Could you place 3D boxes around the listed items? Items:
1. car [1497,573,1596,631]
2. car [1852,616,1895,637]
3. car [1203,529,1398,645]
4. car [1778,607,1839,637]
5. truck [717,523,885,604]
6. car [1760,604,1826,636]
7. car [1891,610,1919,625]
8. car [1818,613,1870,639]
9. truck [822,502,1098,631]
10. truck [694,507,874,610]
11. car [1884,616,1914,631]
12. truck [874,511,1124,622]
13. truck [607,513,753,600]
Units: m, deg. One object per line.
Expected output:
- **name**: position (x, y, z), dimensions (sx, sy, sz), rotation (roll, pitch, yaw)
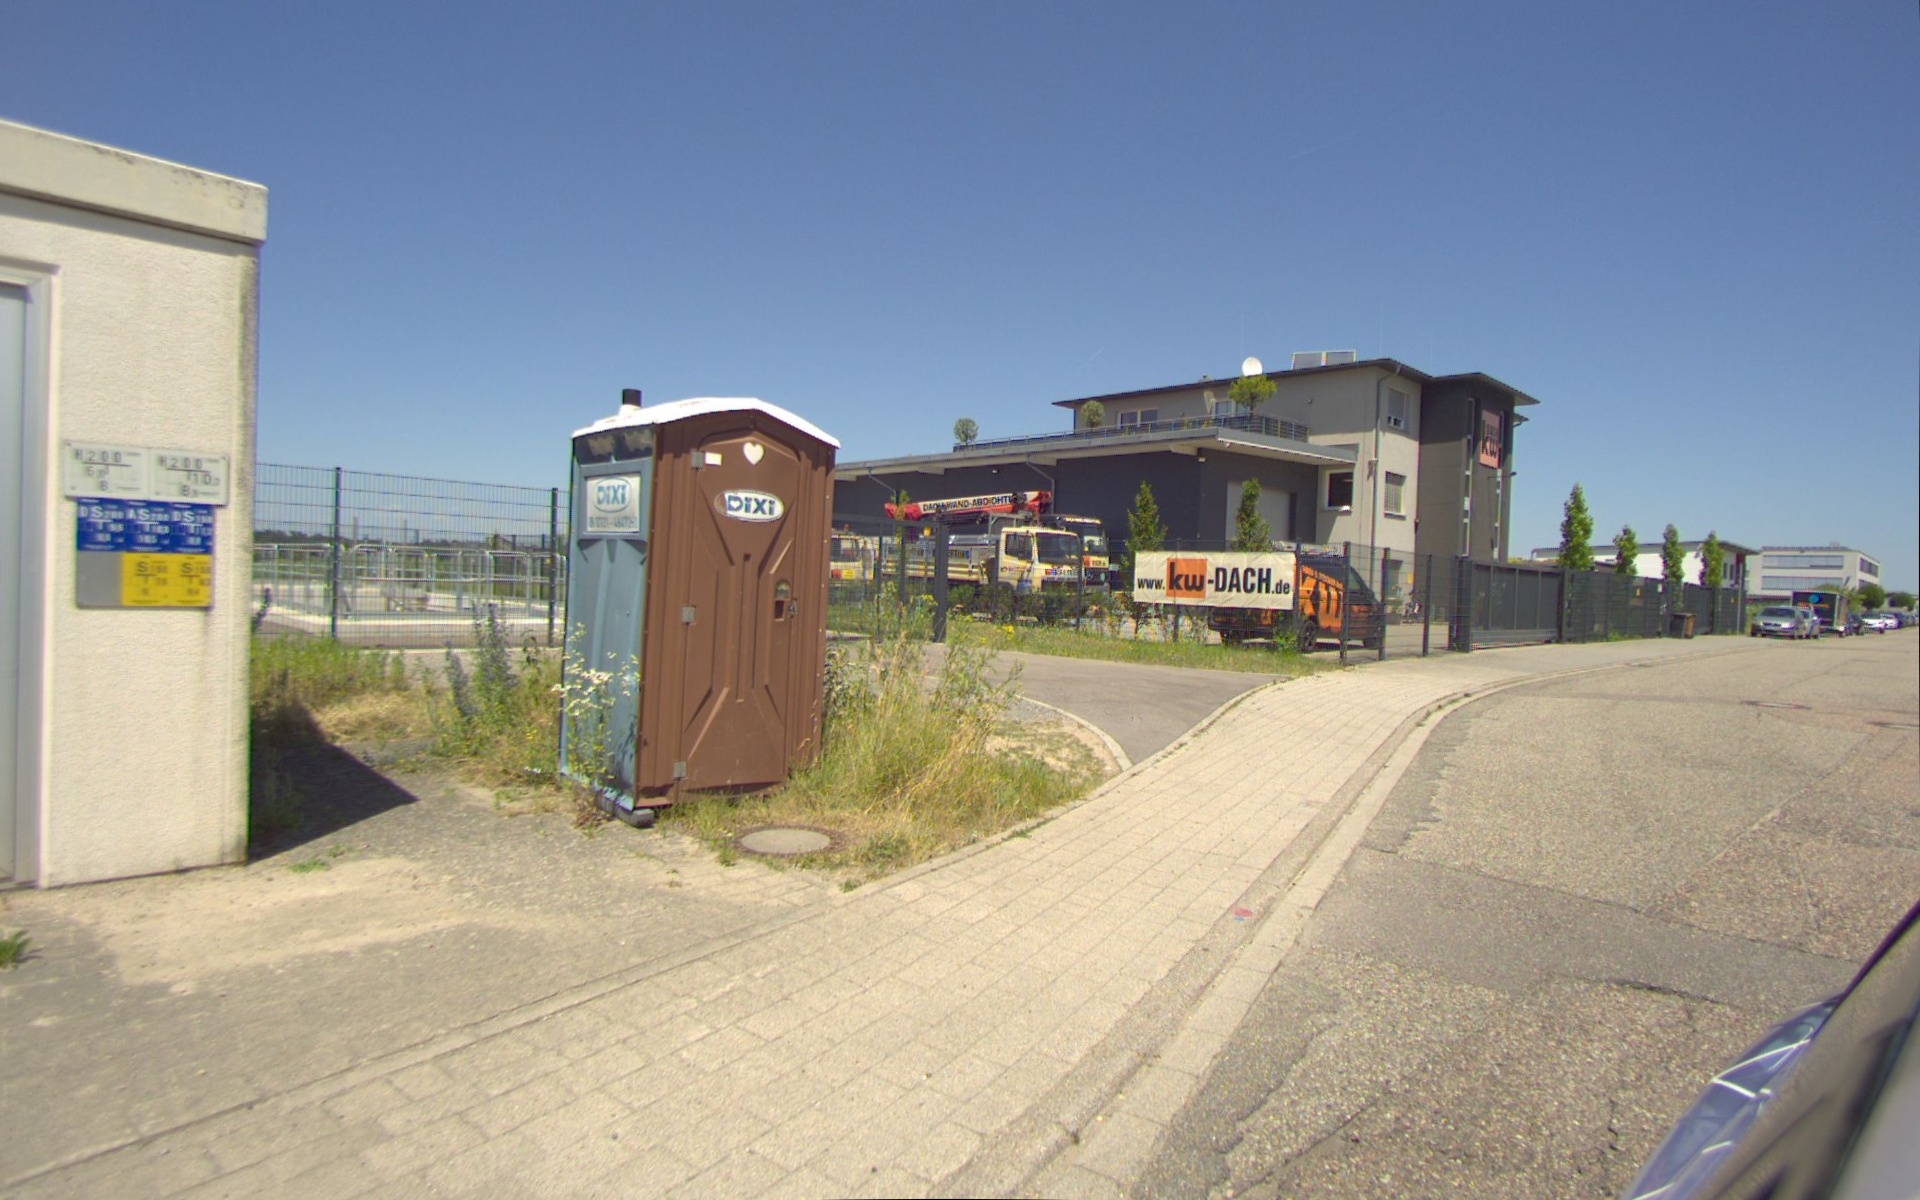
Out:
- **car**: position (20.193, 0.057, 34.779), dimensions (1.925, 1.816, 3.935), rotation (4, 2, 45)
- **car**: position (61.789, 1.775, 68.431), dimensions (3.820, 1.292, 1.827), rotation (1, 2, -43)
- **car**: position (7.292, -0.269, 21.403), dimensions (4.701, 2.188, 1.916), rotation (1, 2, -44)
- **car**: position (41.435, 1.047, 49.391), dimensions (3.820, 1.292, 1.827), rotation (1, 2, -43)
- **truck**: position (-6.797, -1.543, 42.021), dimensions (2.644, 3.059, 8.345), rotation (1, 2, -43)
- **car**: position (37.987, 0.899, 46.116), dimensions (3.820, 1.292, 1.827), rotation (1, 2, -43)
- **car**: position (94.242, 1.732, 100.849), dimensions (3.820, 1.292, 1.827), rotation (1, 2, -43)
- **car**: position (50.444, 1.446, 57.757), dimensions (3.820, 1.292, 1.827), rotation (1, 2, -43)
- **truck**: position (-0.301, -0.956, 27.967), dimensions (2.580, 3.059, 8.345), rotation (1, 2, -43)
- **truck**: position (-6.012, -1.376, 33.723), dimensions (2.454, 3.059, 7.019), rotation (1, 2, -43)
- **car**: position (89.878, 2.221, 96.870), dimensions (3.820, 1.292, 1.827), rotation (1, 2, -43)
- **truck**: position (0.992, -1.132, 33.421), dimensions (2.644, 3.216, 8.957), rotation (1, 2, -43)
- **truck**: position (-10.957, -1.669, 39.168), dimensions (2.454, 3.059, 7.019), rotation (1, 2, -43)
